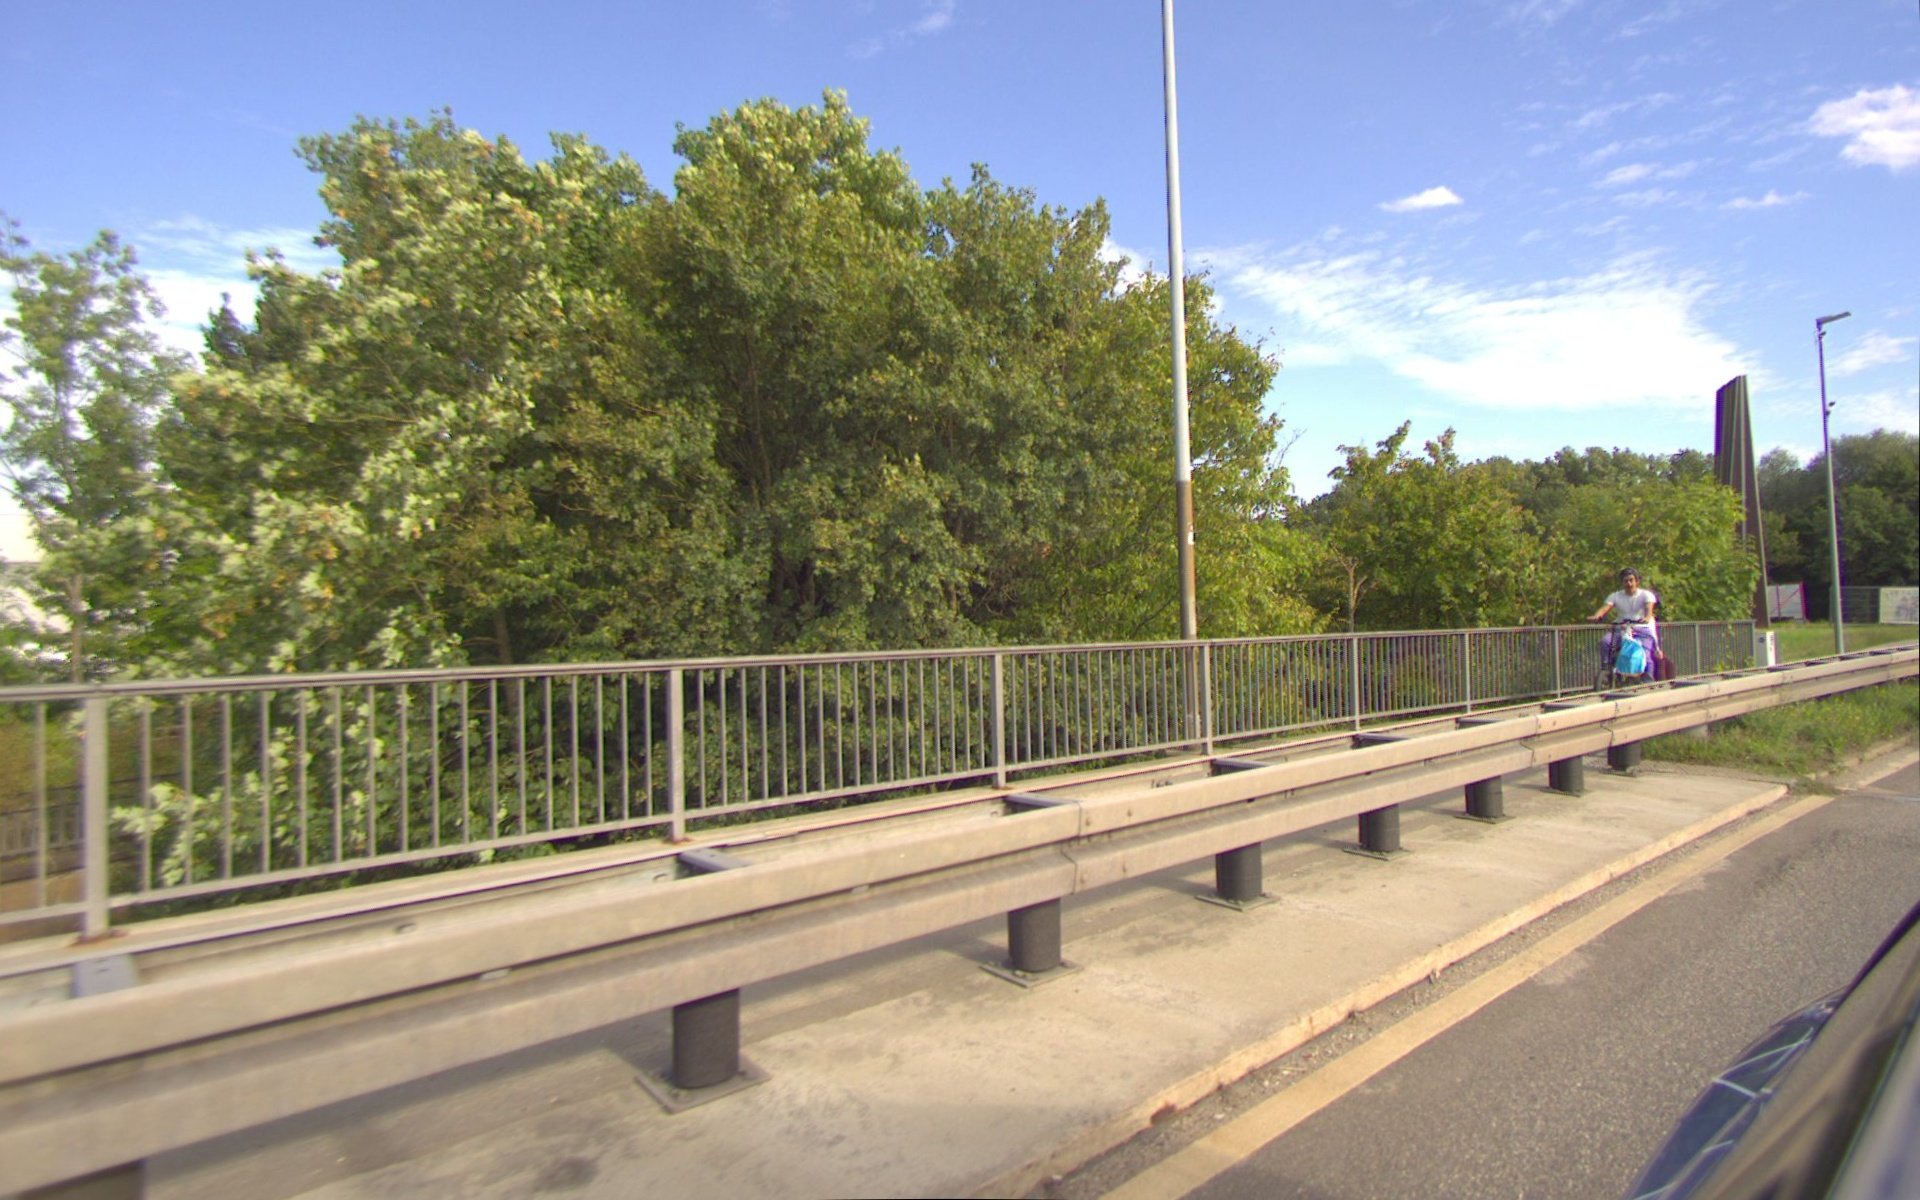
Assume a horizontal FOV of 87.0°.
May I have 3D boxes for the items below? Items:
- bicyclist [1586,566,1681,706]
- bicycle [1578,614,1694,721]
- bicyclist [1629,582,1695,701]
[{"bbox_3d":[7.927,0.394,11.916,0.740,1.576,0.709,0,1,-36],"label":"bicyclist"},{"bbox_3d":[7.934,0.752,11.859,1.665,1.134,0.597,-1,1,-36],"label":"bicycle"},{"bbox_3d":[8.421,0.478,12.136,0.528,1.389,0.501,0,1,-36],"label":"bicyclist"}]
